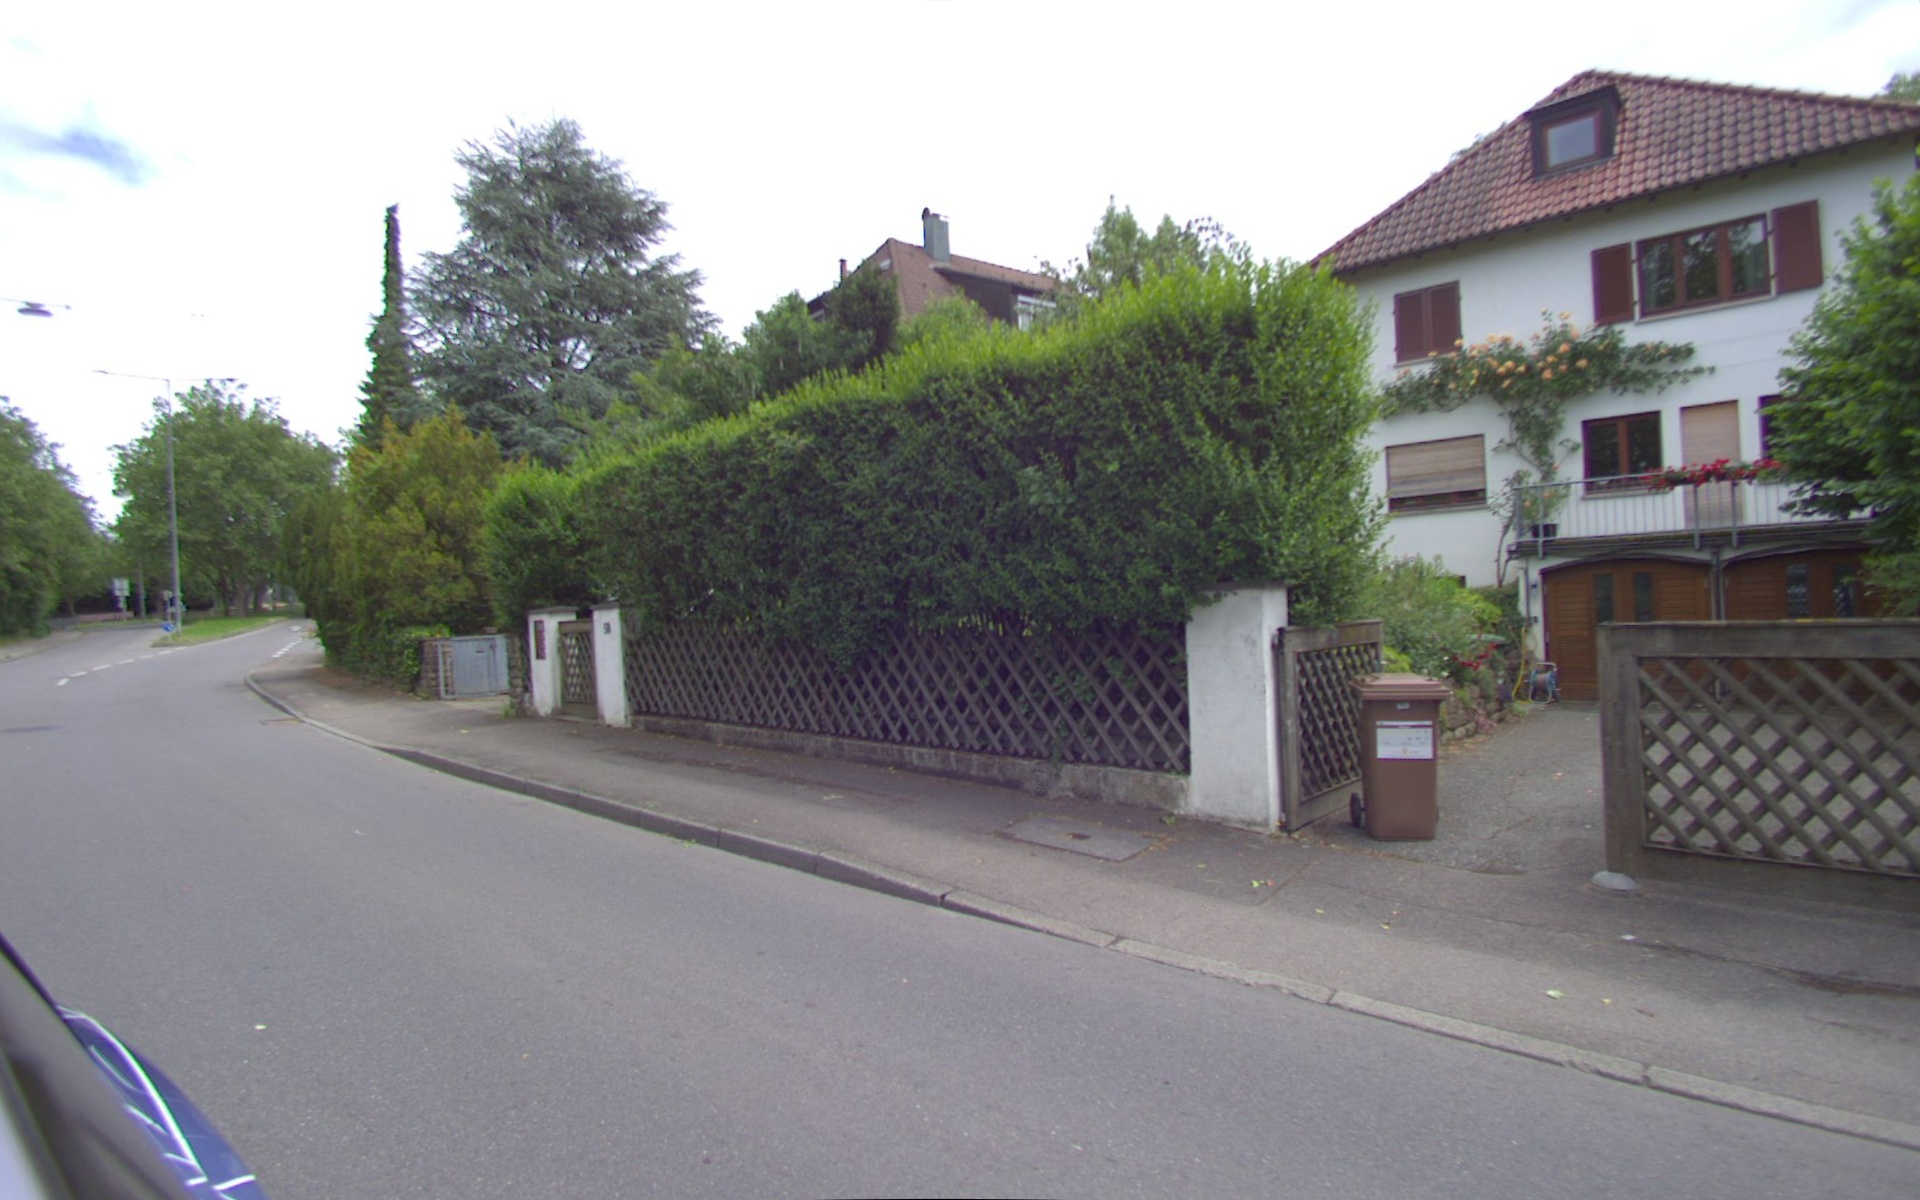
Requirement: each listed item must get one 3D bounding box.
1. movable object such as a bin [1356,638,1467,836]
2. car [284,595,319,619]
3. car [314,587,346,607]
[{"bbox_3d":[2.567,0.761,5.771,0.497,1.039,0.445,-4,1,24],"label":"movable object such as a bin"},{"bbox_3d":[-54.437,0.538,83.753,1.733,1.602,4.629,-5,5,-25],"label":"car"},{"bbox_3d":[-57.980,-0.280,93.145,1.826,1.670,4.922,-5,1,-25],"label":"car"}]
